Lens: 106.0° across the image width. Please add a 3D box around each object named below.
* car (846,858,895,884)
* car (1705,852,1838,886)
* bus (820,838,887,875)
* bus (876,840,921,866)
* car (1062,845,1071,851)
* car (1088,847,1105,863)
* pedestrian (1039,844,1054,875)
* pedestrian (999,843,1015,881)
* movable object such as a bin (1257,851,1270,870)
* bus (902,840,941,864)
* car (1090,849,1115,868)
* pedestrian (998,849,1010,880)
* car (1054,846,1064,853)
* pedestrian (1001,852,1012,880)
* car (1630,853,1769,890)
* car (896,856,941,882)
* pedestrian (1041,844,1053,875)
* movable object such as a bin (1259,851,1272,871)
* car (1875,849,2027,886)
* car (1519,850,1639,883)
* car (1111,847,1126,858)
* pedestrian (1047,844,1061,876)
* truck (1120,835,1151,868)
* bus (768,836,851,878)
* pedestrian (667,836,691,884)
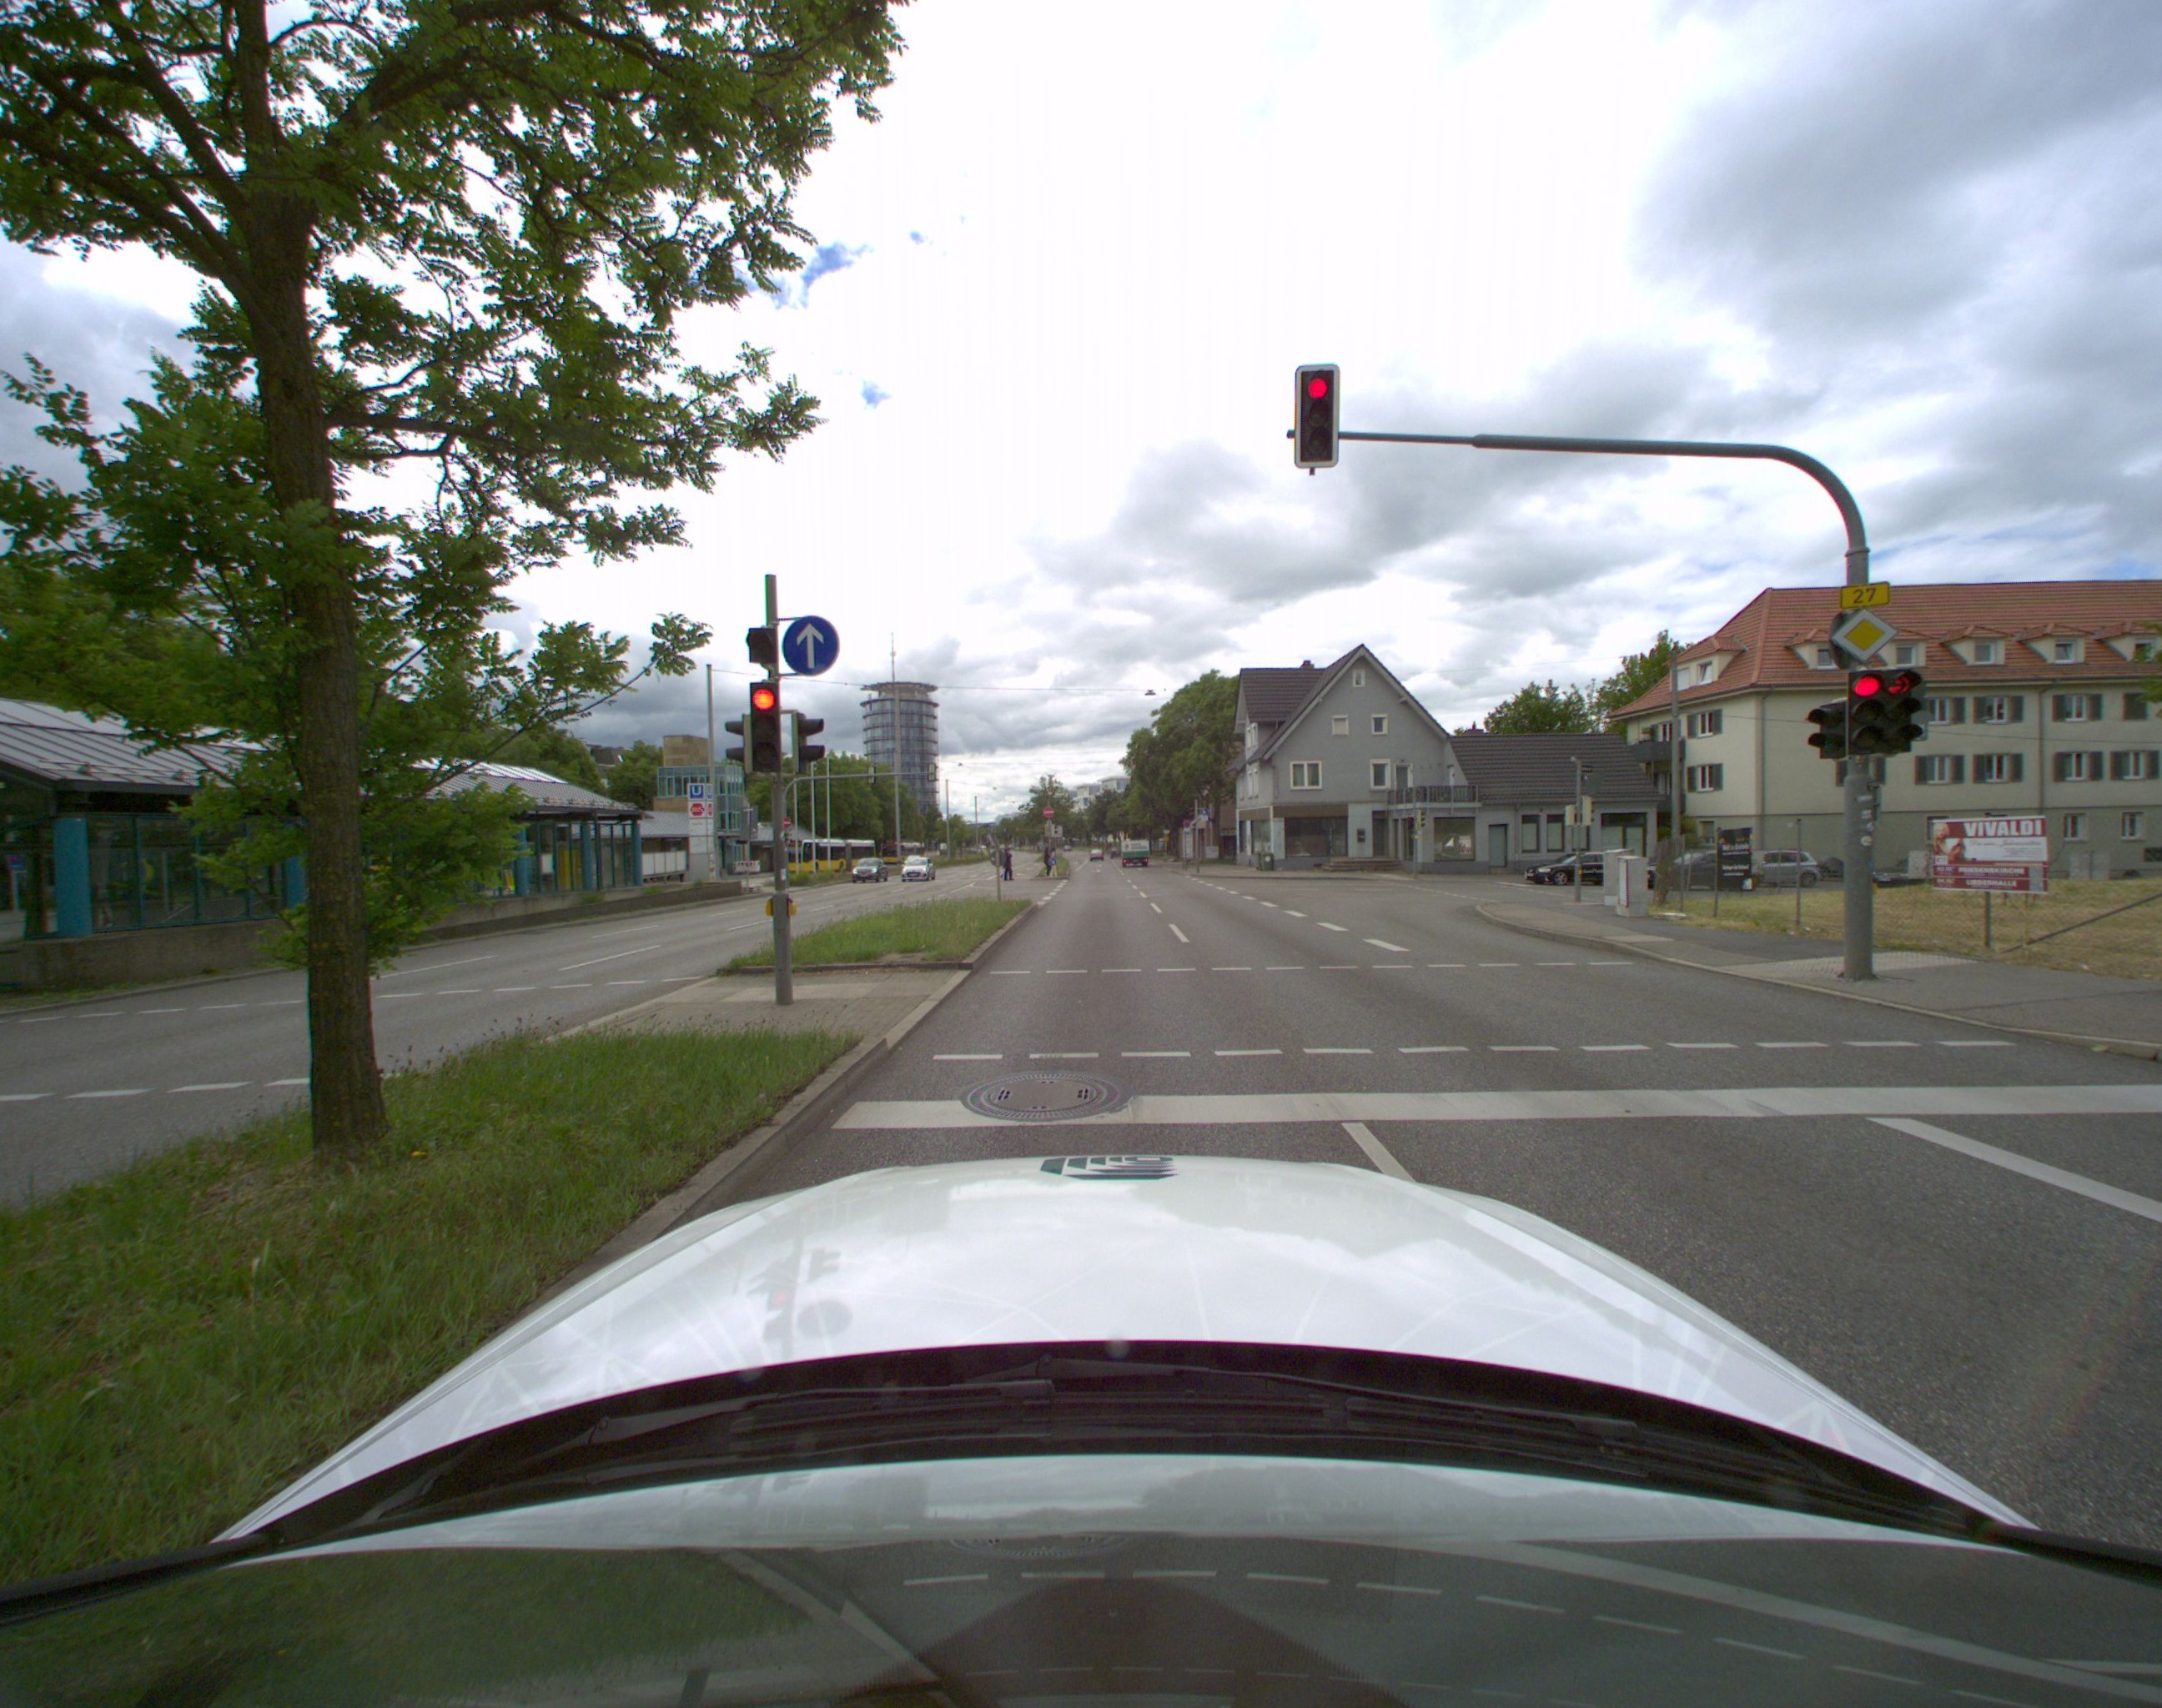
[{"bbox_3d":[-13.435,1.048,52.142,1.987,1.486,4.000,-2,0,0],"label":"car"},{"bbox_3d":[28.679,0.606,33.918,4.075,1.371,1.800,0,0,0],"label":"car"},{"bbox_3d":[-23.146,0.199,83.631,2.817,3.430,10.751,-2,0,6],"label":"bus"},{"bbox_3d":[-25.676,-0.206,115.218,2.817,3.430,10.751,-2,0,6],"label":"bus"},{"bbox_3d":[-3.699,-1.584,207.410,1.992,1.552,3.990,-2,0,-7],"label":"car"},{"bbox_3d":[1.903,0.075,99.492,1.986,1.830,4.001,-1,0,1],"label":"car"},{"bbox_3d":[-1.909,0.299,44.889,0.744,1.716,0.582,-2,0,-6],"label":"pedestrian"},{"bbox_3d":[-4.004,0.409,44.124,0.829,2.013,0.545,-2,0,-6],"label":"pedestrian"},{"bbox_3d":[10.008,0.331,44.768,0.613,1.043,0.590,0,0,3],"label":"movable object such as a bin"},{"bbox_3d":[-24.597,-0.344,125.941,2.817,3.430,10.751,-2,0,6],"label":"bus"},{"bbox_3d":[1.813,0.348,68.768,1.986,1.552,4.001,0,0,1],"label":"car"},{"bbox_3d":[-4.345,0.578,45.698,0.611,1.716,0.545,-2,0,-5],"label":"pedestrian"},{"bbox_3d":[-4.832,-1.045,176.821,1.988,1.519,3.997,-2,0,-2],"label":"car"},{"bbox_3d":[-4.097,0.657,44.779,0.542,1.496,0.485,-2,0,-7],"label":"pedestrian"},{"bbox_3d":[23.973,0.648,31.656,4.075,1.371,1.800,0,0,0],"label":"car"},{"bbox_3d":[-10.240,0.937,51.587,1.987,1.486,4.000,-2,0,0],"label":"car"},{"bbox_3d":[-1.925,0.331,45.690,0.582,1.716,0.545,-2,0,-5],"label":"pedestrian"},{"bbox_3d":[10.002,0.358,44.133,0.602,1.059,0.590,0,0,3],"label":"movable object such as a bin"},{"bbox_3d":[34.044,0.507,31.927,4.075,1.371,1.800,0,0,0],"label":"car"},{"bbox_3d":[21.257,0.526,34.874,4.075,1.371,1.800,0,0,0],"label":"car"},{"bbox_3d":[5.055,-0.197,110.663,1.986,1.552,4.001,0,0,1],"label":"car"},{"bbox_3d":[-1.473,0.344,44.372,0.652,1.716,0.451,-2,0,-6],"label":"pedestrian"},{"bbox_3d":[4.524,-0.234,68.061,2.460,2.611,6.554,0,1,3],"label":"truck"},{"bbox_3d":[-24.190,0.233,73.402,2.817,3.430,10.751,-2,0,6],"label":"bus"},{"bbox_3d":[-17.332,0.265,35.126,0.680,2.013,0.645,-2,0,-3],"label":"pedestrian"}]
